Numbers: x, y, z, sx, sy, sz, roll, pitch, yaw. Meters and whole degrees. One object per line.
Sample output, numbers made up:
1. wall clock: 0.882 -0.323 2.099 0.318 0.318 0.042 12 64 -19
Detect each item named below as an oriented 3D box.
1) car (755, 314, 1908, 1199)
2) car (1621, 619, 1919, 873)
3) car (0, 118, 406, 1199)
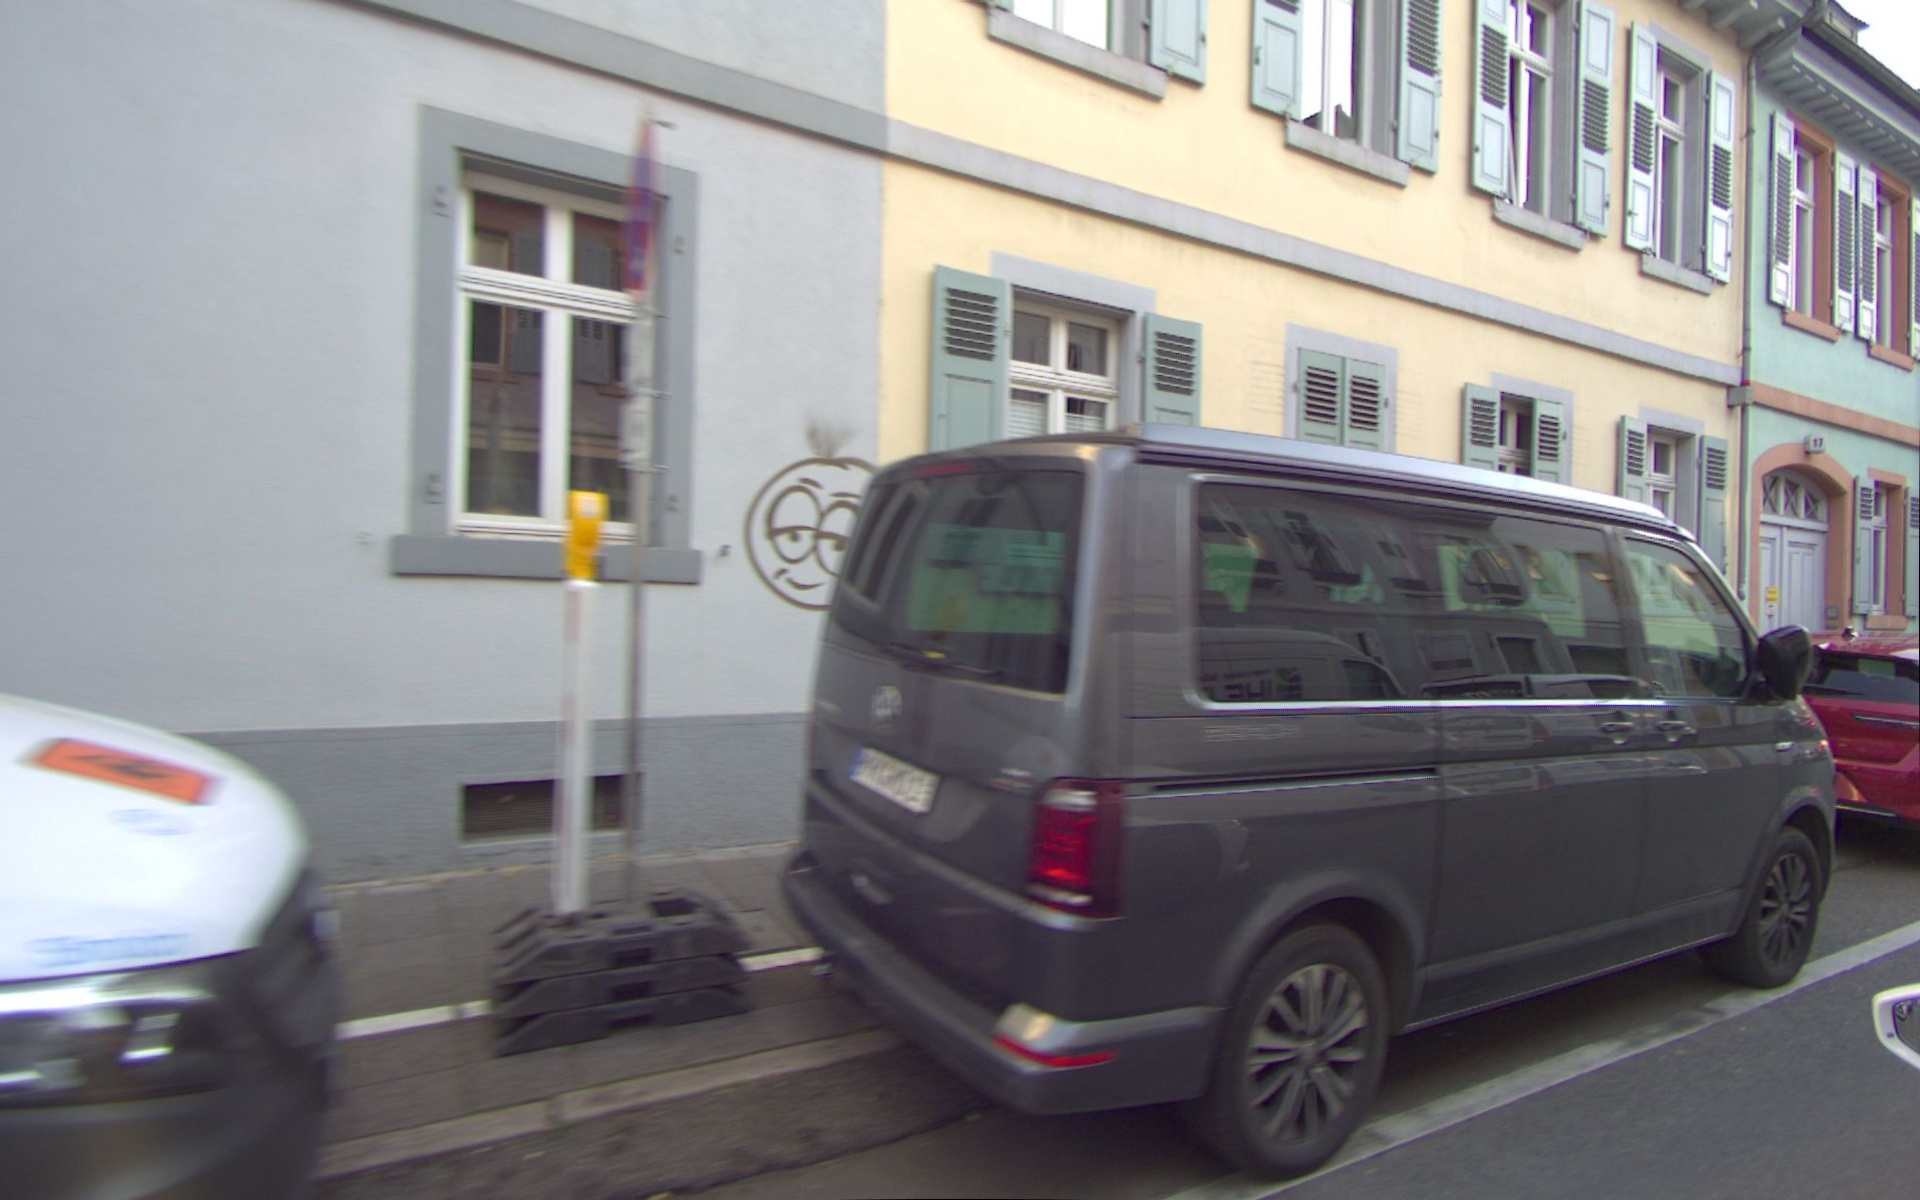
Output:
1. car: 1.775 0.506 4.068 4.760 2.040 1.853 2 -1 -32
2. car: 6.979 0.907 7.455 4.212 1.420 1.757 2 -1 -30
3. car: -3.417 0.402 0.879 5.048 2.040 1.853 2 -1 -32
